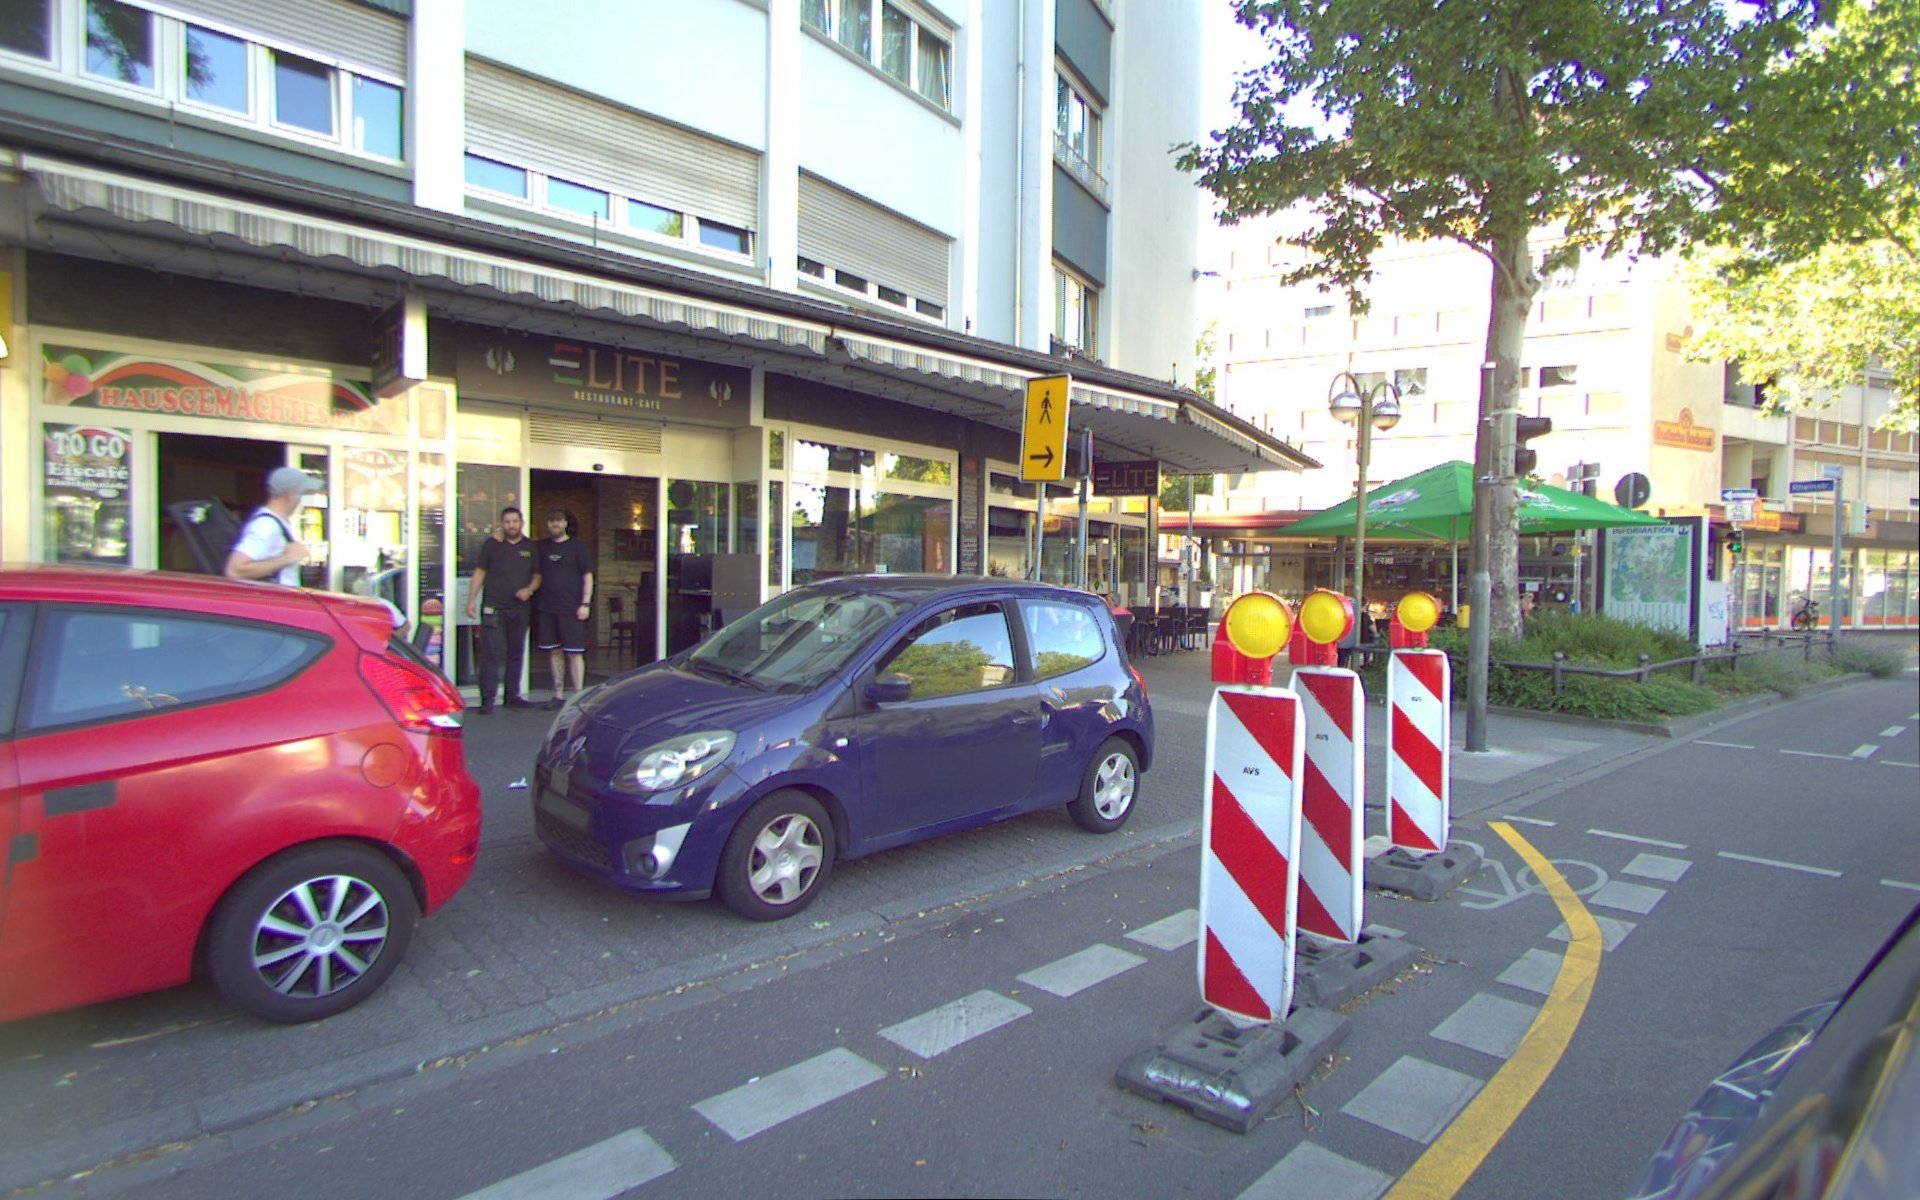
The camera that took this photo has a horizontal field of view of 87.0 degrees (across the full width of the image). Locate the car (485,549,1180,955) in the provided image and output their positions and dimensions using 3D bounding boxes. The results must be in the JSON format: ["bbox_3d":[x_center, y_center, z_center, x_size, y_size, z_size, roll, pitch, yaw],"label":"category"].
[{"bbox_3d":[-0.501,0.535,5.627,3.545,1.484,1.621,0,4,-44],"label":"car"}]

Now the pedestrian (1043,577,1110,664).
[{"bbox_3d":[1.735,0.291,15.045,0.664,1.233,0.706,3,1,43],"label":"pedestrian"}]

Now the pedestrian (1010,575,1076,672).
[{"bbox_3d":[1.141,0.309,13.880,0.644,1.267,0.711,3,1,25],"label":"pedestrian"}]

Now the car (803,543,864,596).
[{"bbox_3d":[-4.483,-1.093,36.298,1.960,1.771,4.004,1,1,-4],"label":"car"}]

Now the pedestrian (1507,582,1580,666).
[{"bbox_3d":[9.419,0.375,16.344,0.753,1.301,0.721,0,1,-28],"label":"pedestrian"}]

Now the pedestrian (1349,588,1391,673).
[{"bbox_3d":[6.093,0.446,15.038,0.460,1.235,0.432,1,0,5],"label":"pedestrian"}]

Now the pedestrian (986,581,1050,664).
[{"bbox_3d":[0.852,0.315,14.784,0.710,1.144,0.645,3,1,25],"label":"pedestrian"}]

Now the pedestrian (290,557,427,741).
[{"bbox_3d":[-4.680,0.321,7.845,0.765,1.247,1.207,-1,5,-38],"label":"pedestrian"}]

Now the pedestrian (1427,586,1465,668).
[{"bbox_3d":[7.624,0.413,15.886,0.427,1.234,0.465,3,2,20],"label":"pedestrian"}]

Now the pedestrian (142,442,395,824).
[{"bbox_3d":[-3.976,0.145,5.816,1.103,1.913,1.024,0,2,-41],"label":"pedestrian"}]

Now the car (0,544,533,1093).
[{"bbox_3d":[-3.504,0.569,2.984,1.668,1.446,3.786,5,4,44],"label":"car"}]

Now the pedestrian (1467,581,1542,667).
[{"bbox_3d":[8.568,0.366,15.943,0.752,1.301,0.721,0,1,-27],"label":"pedestrian"}]

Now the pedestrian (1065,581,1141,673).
[{"bbox_3d":[2.005,0.362,14.154,0.838,1.213,0.644,3,1,27],"label":"pedestrian"}]

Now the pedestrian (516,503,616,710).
[{"bbox_3d":[-3.558,0.043,9.124,0.635,1.780,0.612,1,3,-39],"label":"pedestrian"}]

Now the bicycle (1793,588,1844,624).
[{"bbox_3d":[28.291,0.195,33.358,1.933,1.157,0.530,0,1,-26],"label":"bicycle"}]

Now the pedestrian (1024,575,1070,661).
[{"bbox_3d":[1.316,0.268,15.406,0.541,1.259,0.521,2,1,-7],"label":"pedestrian"}]

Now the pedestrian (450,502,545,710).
[{"bbox_3d":[-4.087,0.034,8.939,0.587,1.756,0.589,1,3,-39],"label":"pedestrian"}]
